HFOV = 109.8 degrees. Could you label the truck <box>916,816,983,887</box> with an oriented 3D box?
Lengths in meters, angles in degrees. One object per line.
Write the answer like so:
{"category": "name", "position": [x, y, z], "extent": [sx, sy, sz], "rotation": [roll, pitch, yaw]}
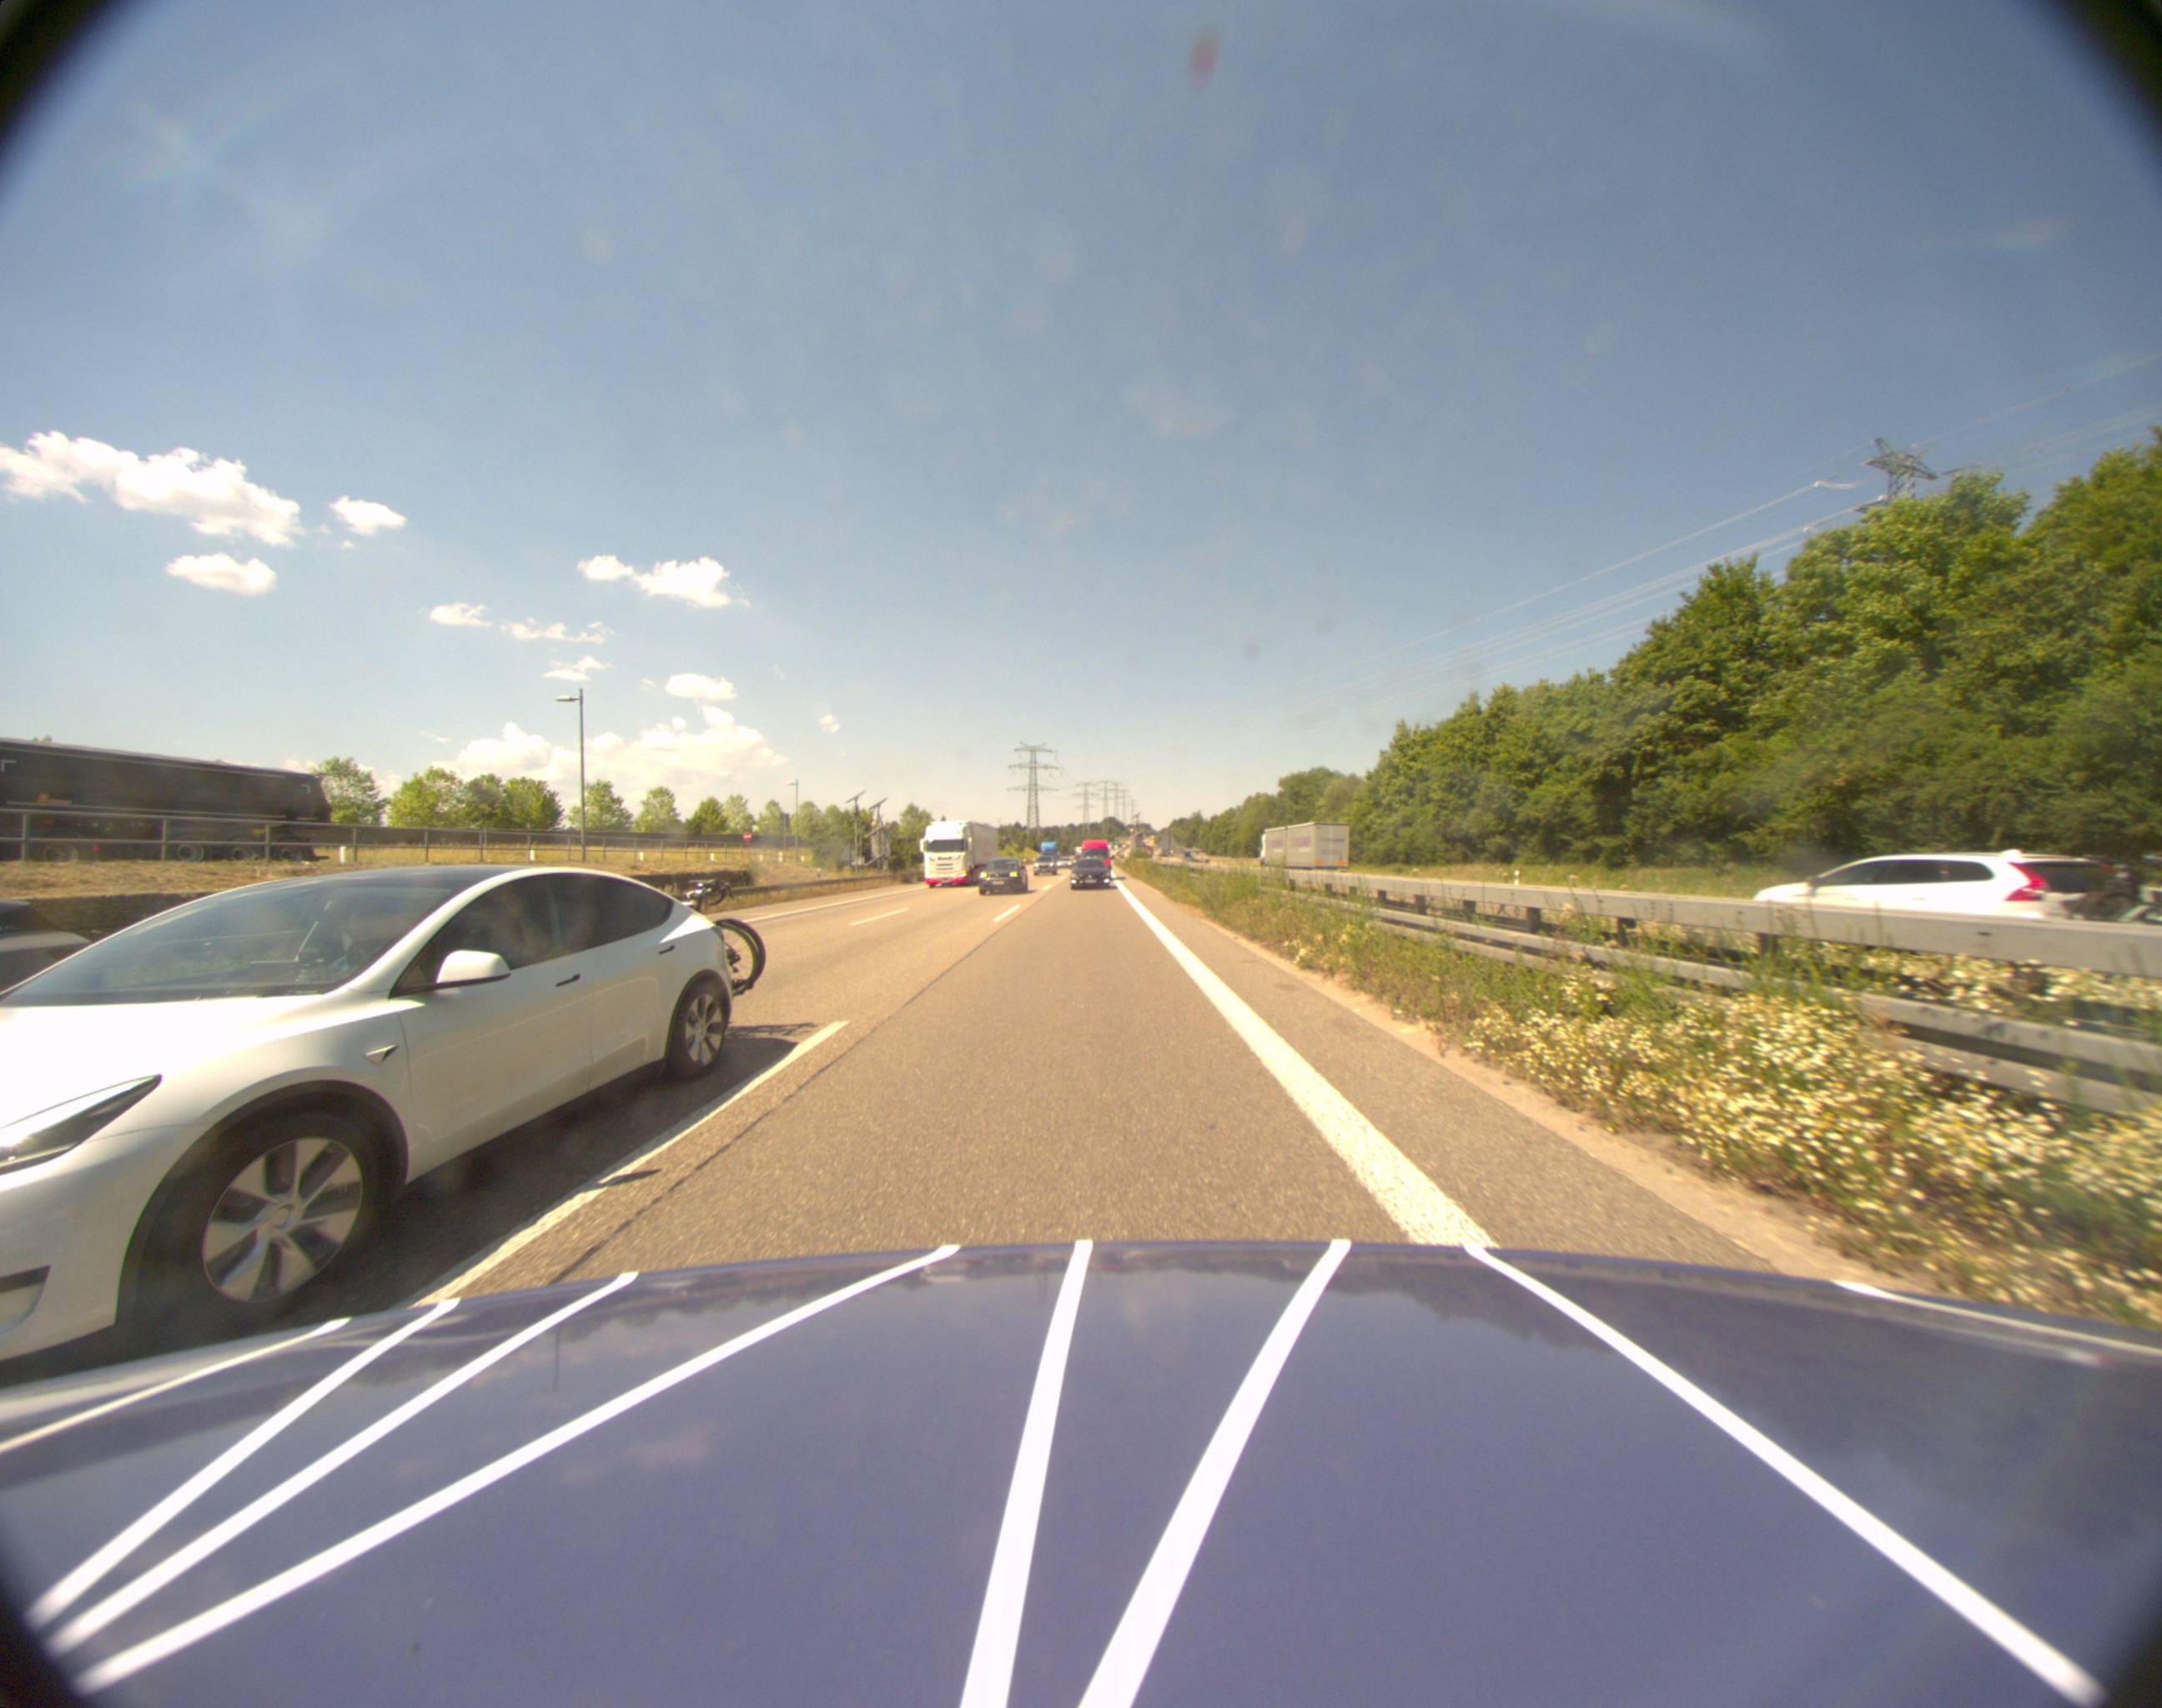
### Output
{"category": "truck", "position": [-7.682, -0.171, 44.795], "extent": [3.076, 3.885, 3.847], "rotation": [-2, 1, 0]}

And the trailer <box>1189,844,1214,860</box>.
{"category": "trailer", "position": [20.577, -0.395, 129.977], "extent": [3.153, 2.624, 8.531], "rotation": [-2, 1, 2]}

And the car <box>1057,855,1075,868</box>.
{"category": "car", "position": [-1.850, 0.949, 94.886], "extent": [1.878, 1.591, 3.689], "rotation": [0, 1, 3]}

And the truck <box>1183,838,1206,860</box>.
{"category": "truck", "position": [20.784, -0.985, 139.718], "extent": [3.003, 3.780, 10.789], "rotation": [-1, 1, 1]}

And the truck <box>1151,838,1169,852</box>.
{"category": "truck", "position": [27.879, -3.067, 269.165], "extent": [3.005, 4.314, 14.541], "rotation": [-1, -2, -7]}

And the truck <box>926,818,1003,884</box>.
{"category": "truck", "position": [-7.634, -0.234, 51.864], "extent": [3.076, 3.885, 12.502], "rotation": [-2, 1, 0]}

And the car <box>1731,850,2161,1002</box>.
{"category": "car", "position": [13.098, 0.817, 11.340], "extent": [1.998, 1.661, 5.610], "rotation": [1, 1, 1]}

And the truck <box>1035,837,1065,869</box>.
{"category": "truck", "position": [-5.193, -0.269, 131.258], "extent": [3.797, 4.971, 14.924], "rotation": [-2, 1, 2]}

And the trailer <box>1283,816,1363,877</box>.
{"category": "trailer", "position": [18.434, -0.577, 58.591], "extent": [3.462, 4.255, 7.969], "rotation": [-2, 1, 0]}

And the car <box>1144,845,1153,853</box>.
{"category": "car", "position": [15.726, -1.180, 177.497], "extent": [1.728, 1.647, 4.860], "rotation": [1, 1, 1]}

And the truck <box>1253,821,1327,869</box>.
{"category": "truck", "position": [18.459, -0.785, 68.036], "extent": [3.462, 3.971, 11.122], "rotation": [0, 0, 0]}

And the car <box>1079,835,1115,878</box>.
{"category": "car", "position": [1.062, 0.149, 48.291], "extent": [2.100, 2.598, 4.496], "rotation": [0, 1, 3]}

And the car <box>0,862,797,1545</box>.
{"category": "car", "position": [-3.750, 0.965, 4.448], "extent": [1.955, 1.627, 5.600], "rotation": [-2, 1, 1]}

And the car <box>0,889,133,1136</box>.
{"category": "car", "position": [-8.259, 1.142, 3.525], "extent": [1.873, 1.627, 4.585], "rotation": [-2, 1, 1]}

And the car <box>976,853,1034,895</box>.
{"category": "car", "position": [-3.325, 0.849, 34.124], "extent": [1.955, 1.637, 4.047], "rotation": [-3, 1, 3]}

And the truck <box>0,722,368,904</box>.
{"category": "truck", "position": [-25.950, -0.862, 19.208], "extent": [3.798, 4.059, 12.516], "rotation": [-2, 1, 0]}

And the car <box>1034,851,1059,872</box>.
{"category": "car", "position": [-2.904, 0.593, 65.474], "extent": [1.749, 1.691, 4.089], "rotation": [0, 1, 3]}

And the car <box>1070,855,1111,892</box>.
{"category": "car", "position": [0.484, 0.830, 34.186], "extent": [1.735, 1.535, 3.750], "rotation": [0, 1, 2]}
